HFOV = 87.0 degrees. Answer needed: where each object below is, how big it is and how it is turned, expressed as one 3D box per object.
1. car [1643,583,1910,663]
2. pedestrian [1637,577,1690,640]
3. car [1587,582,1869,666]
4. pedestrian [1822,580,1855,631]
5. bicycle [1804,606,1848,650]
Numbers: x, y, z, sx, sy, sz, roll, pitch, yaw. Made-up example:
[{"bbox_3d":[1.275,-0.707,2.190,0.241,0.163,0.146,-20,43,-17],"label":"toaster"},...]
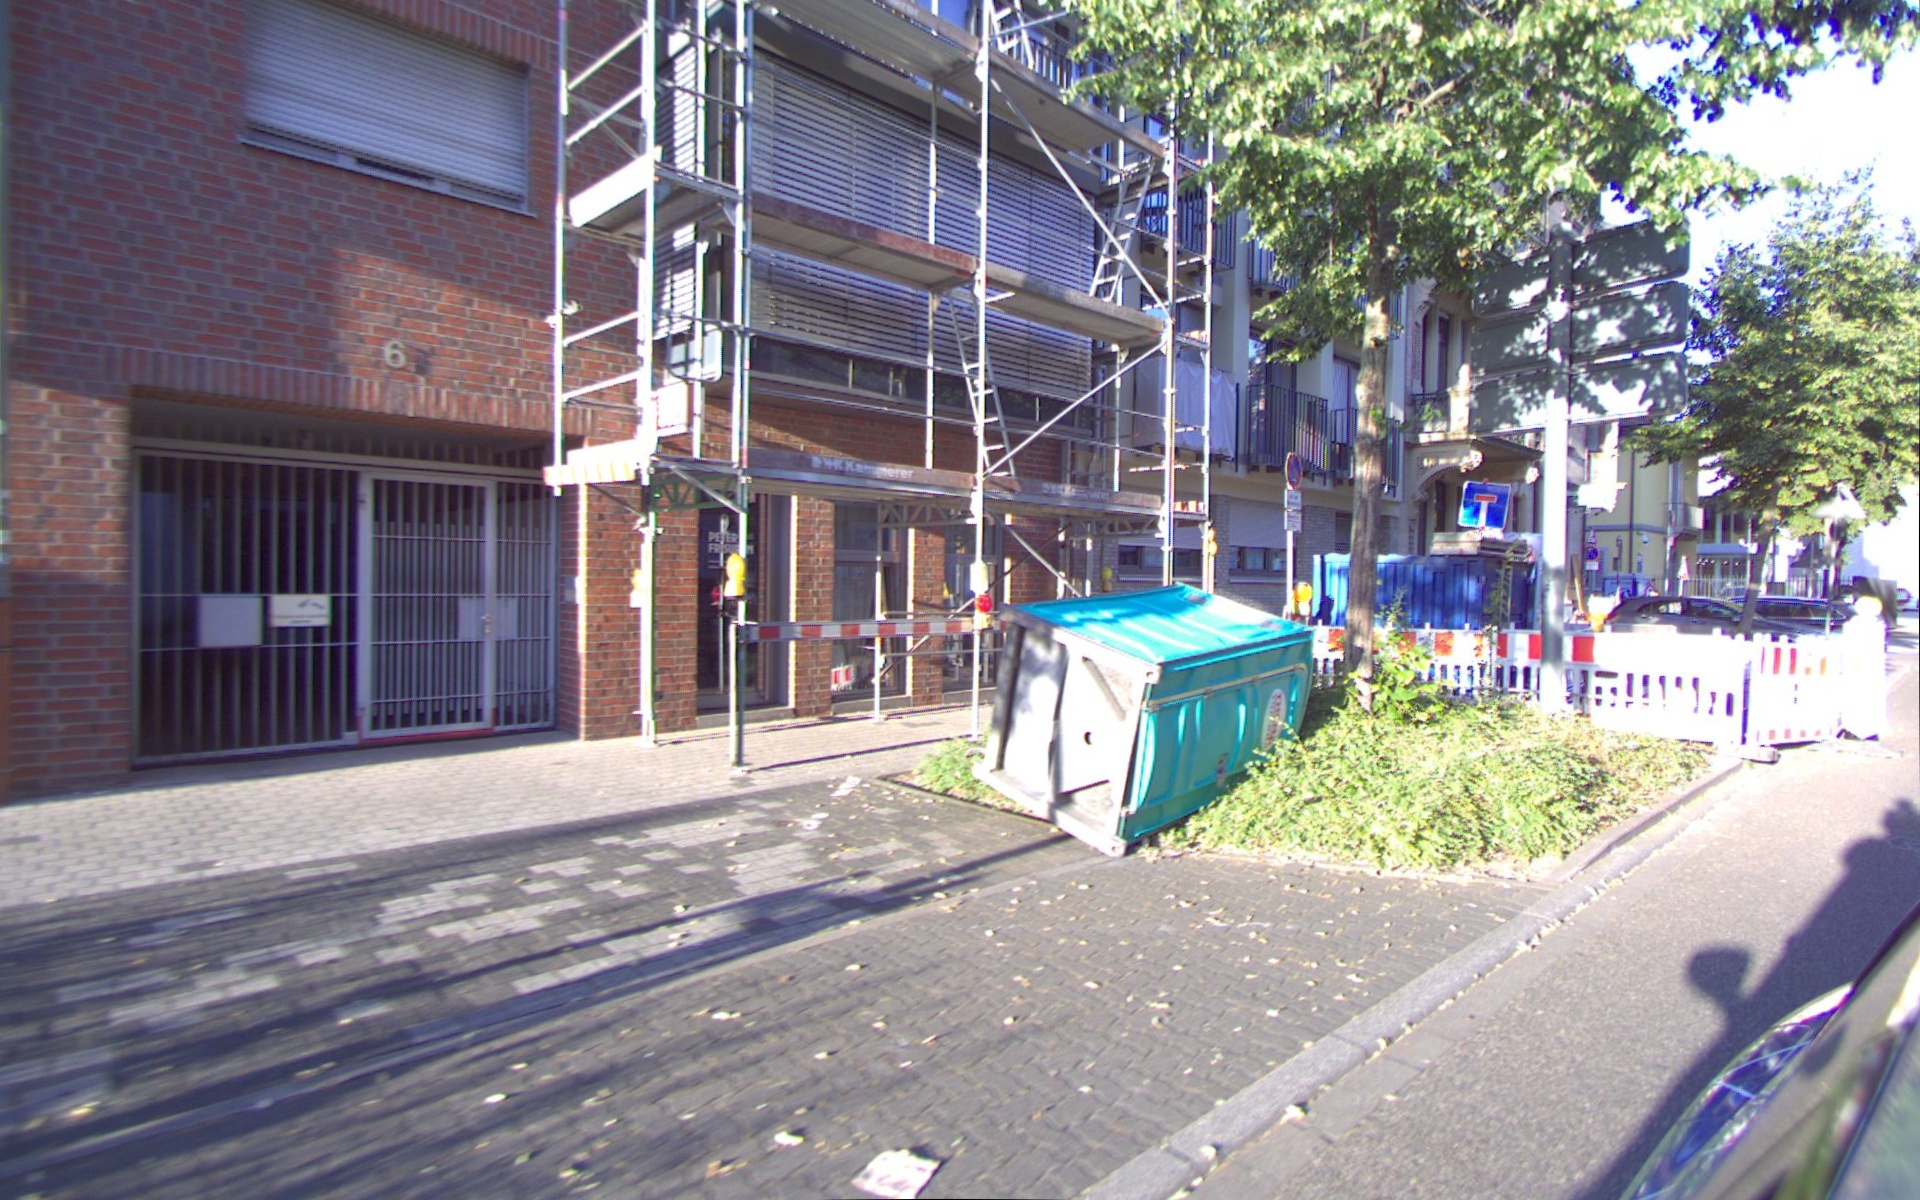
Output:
[{"bbox_3d":[18.612,0.447,23.234,1.879,1.529,4.533,0,2,-43],"label":"car"},{"bbox_3d":[19.206,0.217,27.641,0.943,1.679,0.639,1,1,5],"label":"pedestrian"},{"bbox_3d":[16.415,0.421,21.841,1.835,1.497,4.537,-1,3,-40],"label":"car"},{"bbox_3d":[28.554,0.180,32.905,0.459,1.614,0.674,0,1,-30],"label":"pedestrian"},{"bbox_3d":[21.355,0.668,24.944,1.802,1.026,0.638,0,2,-44],"label":"bicycle"}]
